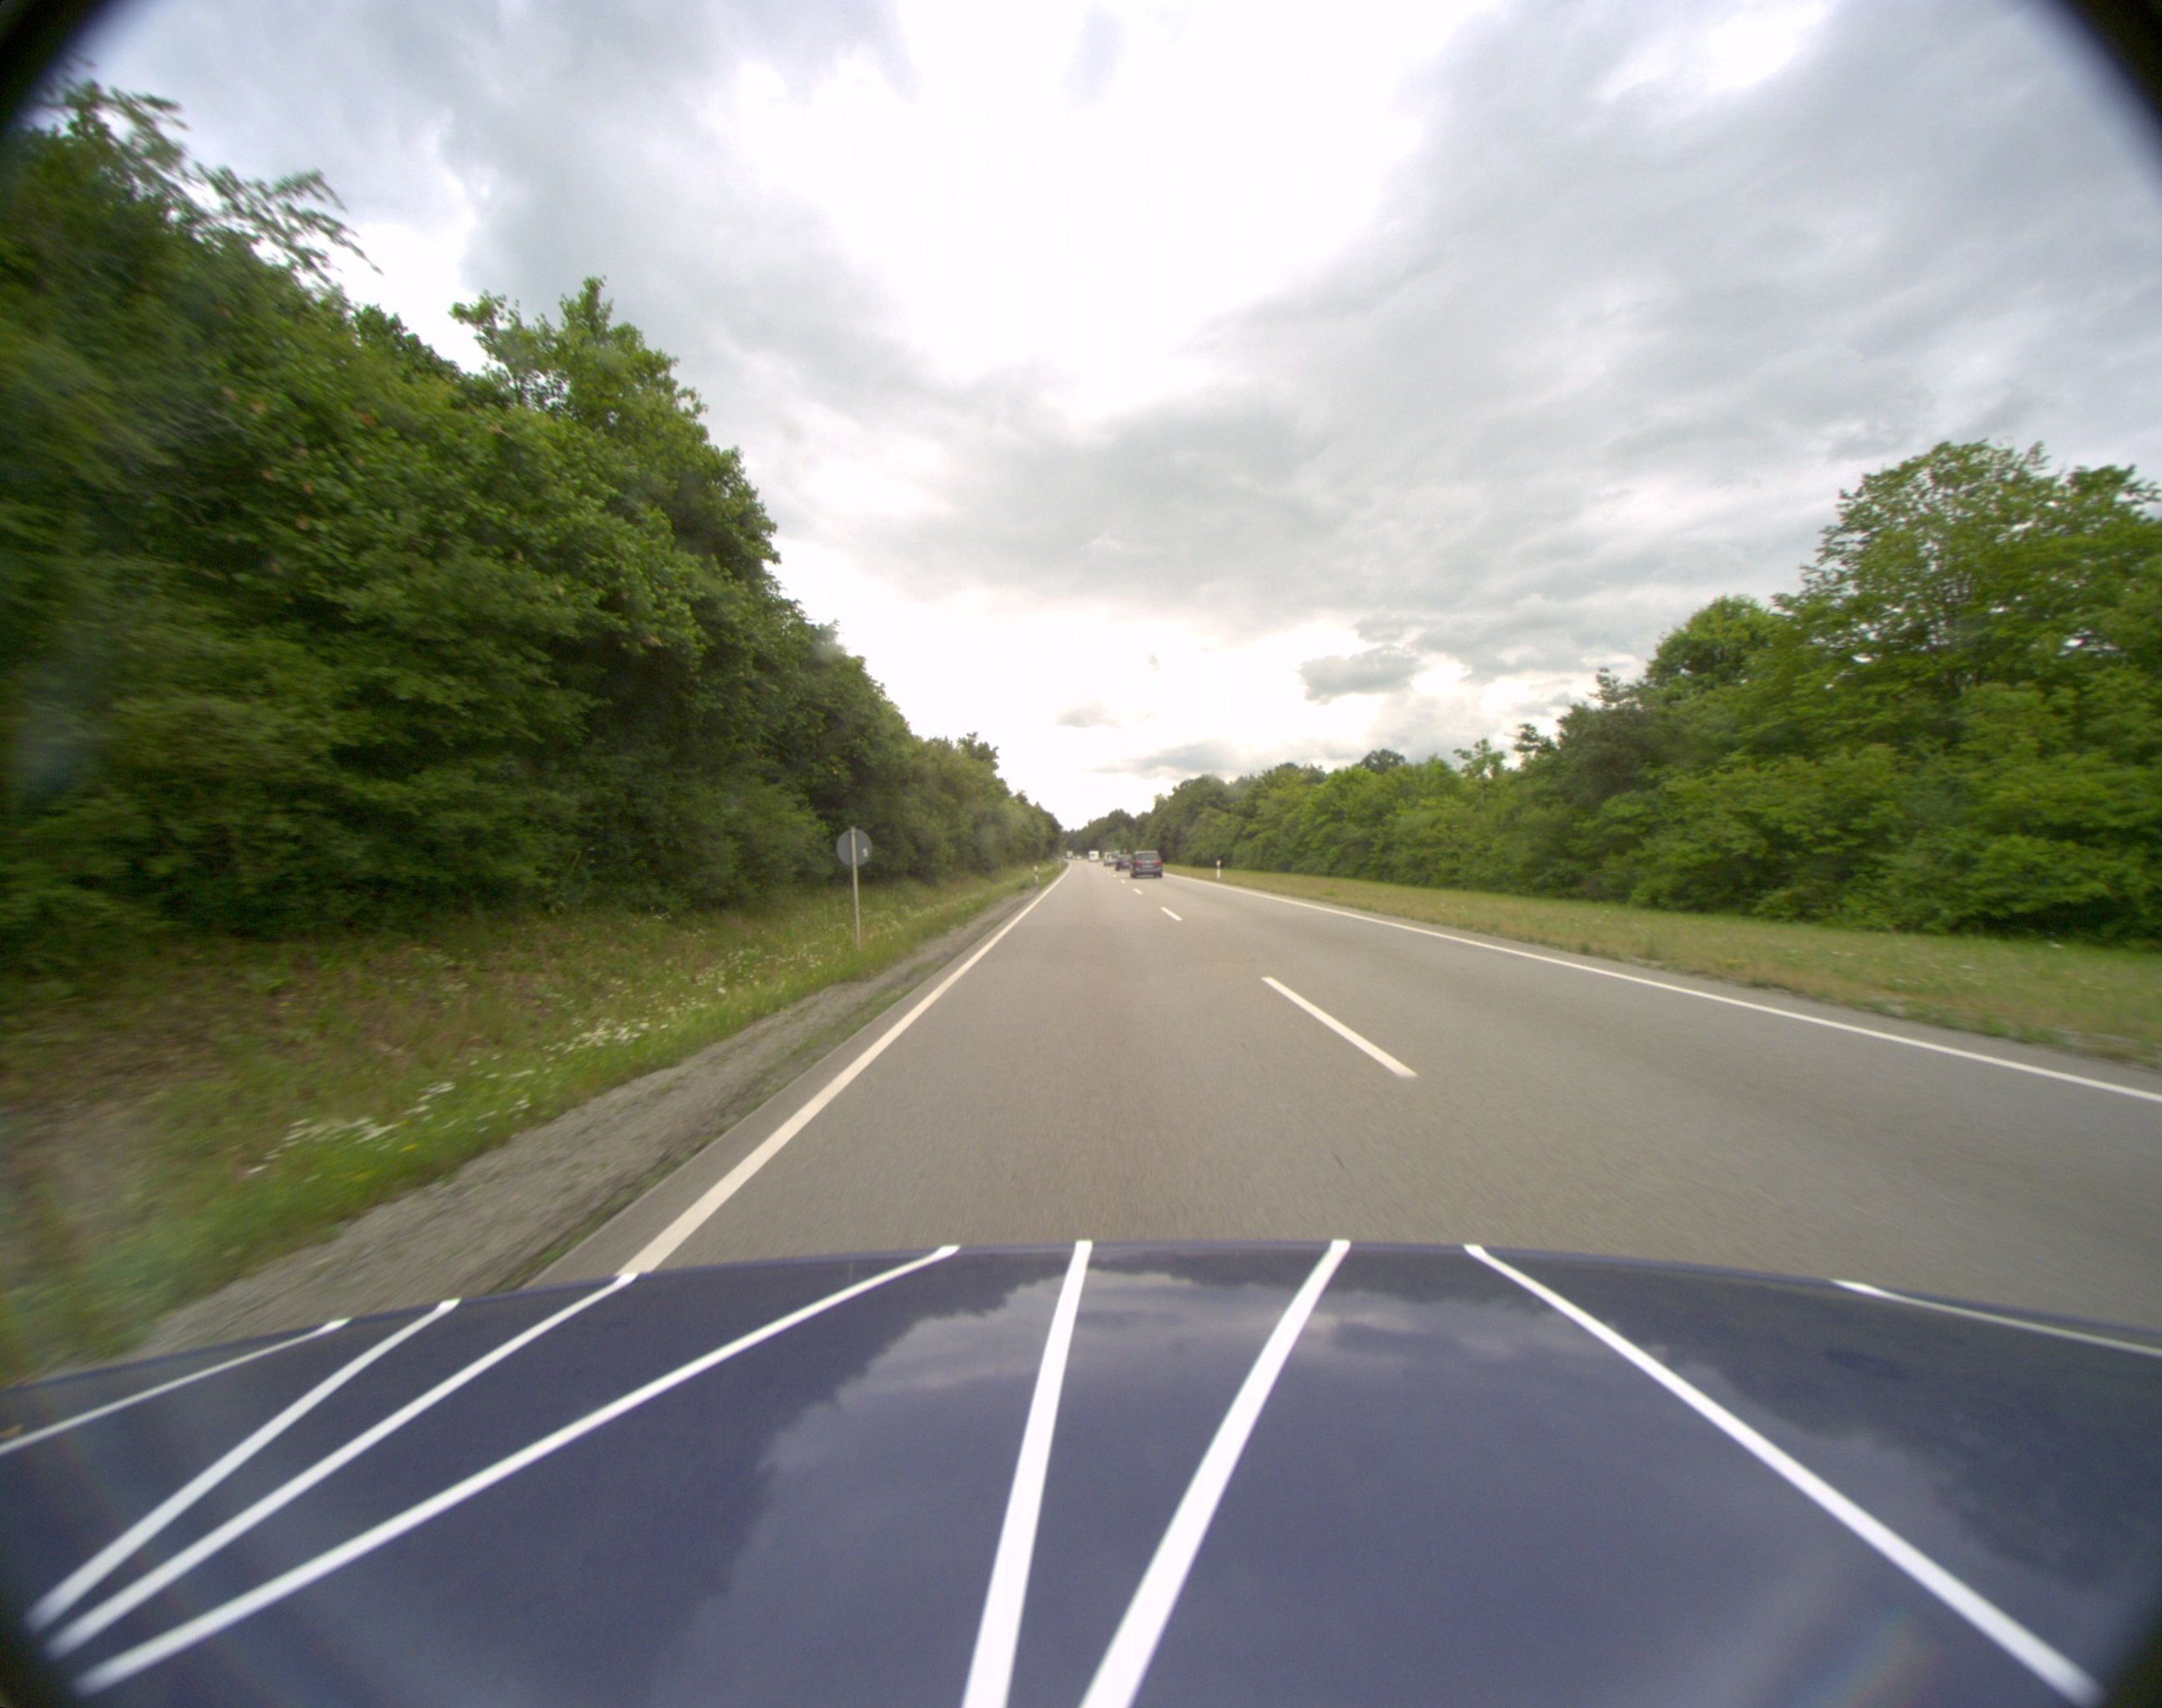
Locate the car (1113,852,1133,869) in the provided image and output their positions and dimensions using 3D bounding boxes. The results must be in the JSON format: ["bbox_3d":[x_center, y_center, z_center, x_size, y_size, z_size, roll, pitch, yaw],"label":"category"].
[{"bbox_3d":[4.023,0.596,73.069,1.692,1.471,4.456,-2,0,0],"label":"car"}]

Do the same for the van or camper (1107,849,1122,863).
[{"bbox_3d":[4.703,0.307,108.395,1.926,1.881,5.361,-2,0,0],"label":"van or camper"}]

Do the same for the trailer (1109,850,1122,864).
[{"bbox_3d":[4.698,0.374,103.753,1.626,1.881,3.783,-2,0,0],"label":"trailer"}]

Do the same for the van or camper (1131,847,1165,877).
[{"bbox_3d":[4.309,0.468,49.336,1.998,1.772,4.422,-2,0,3],"label":"van or camper"}]
